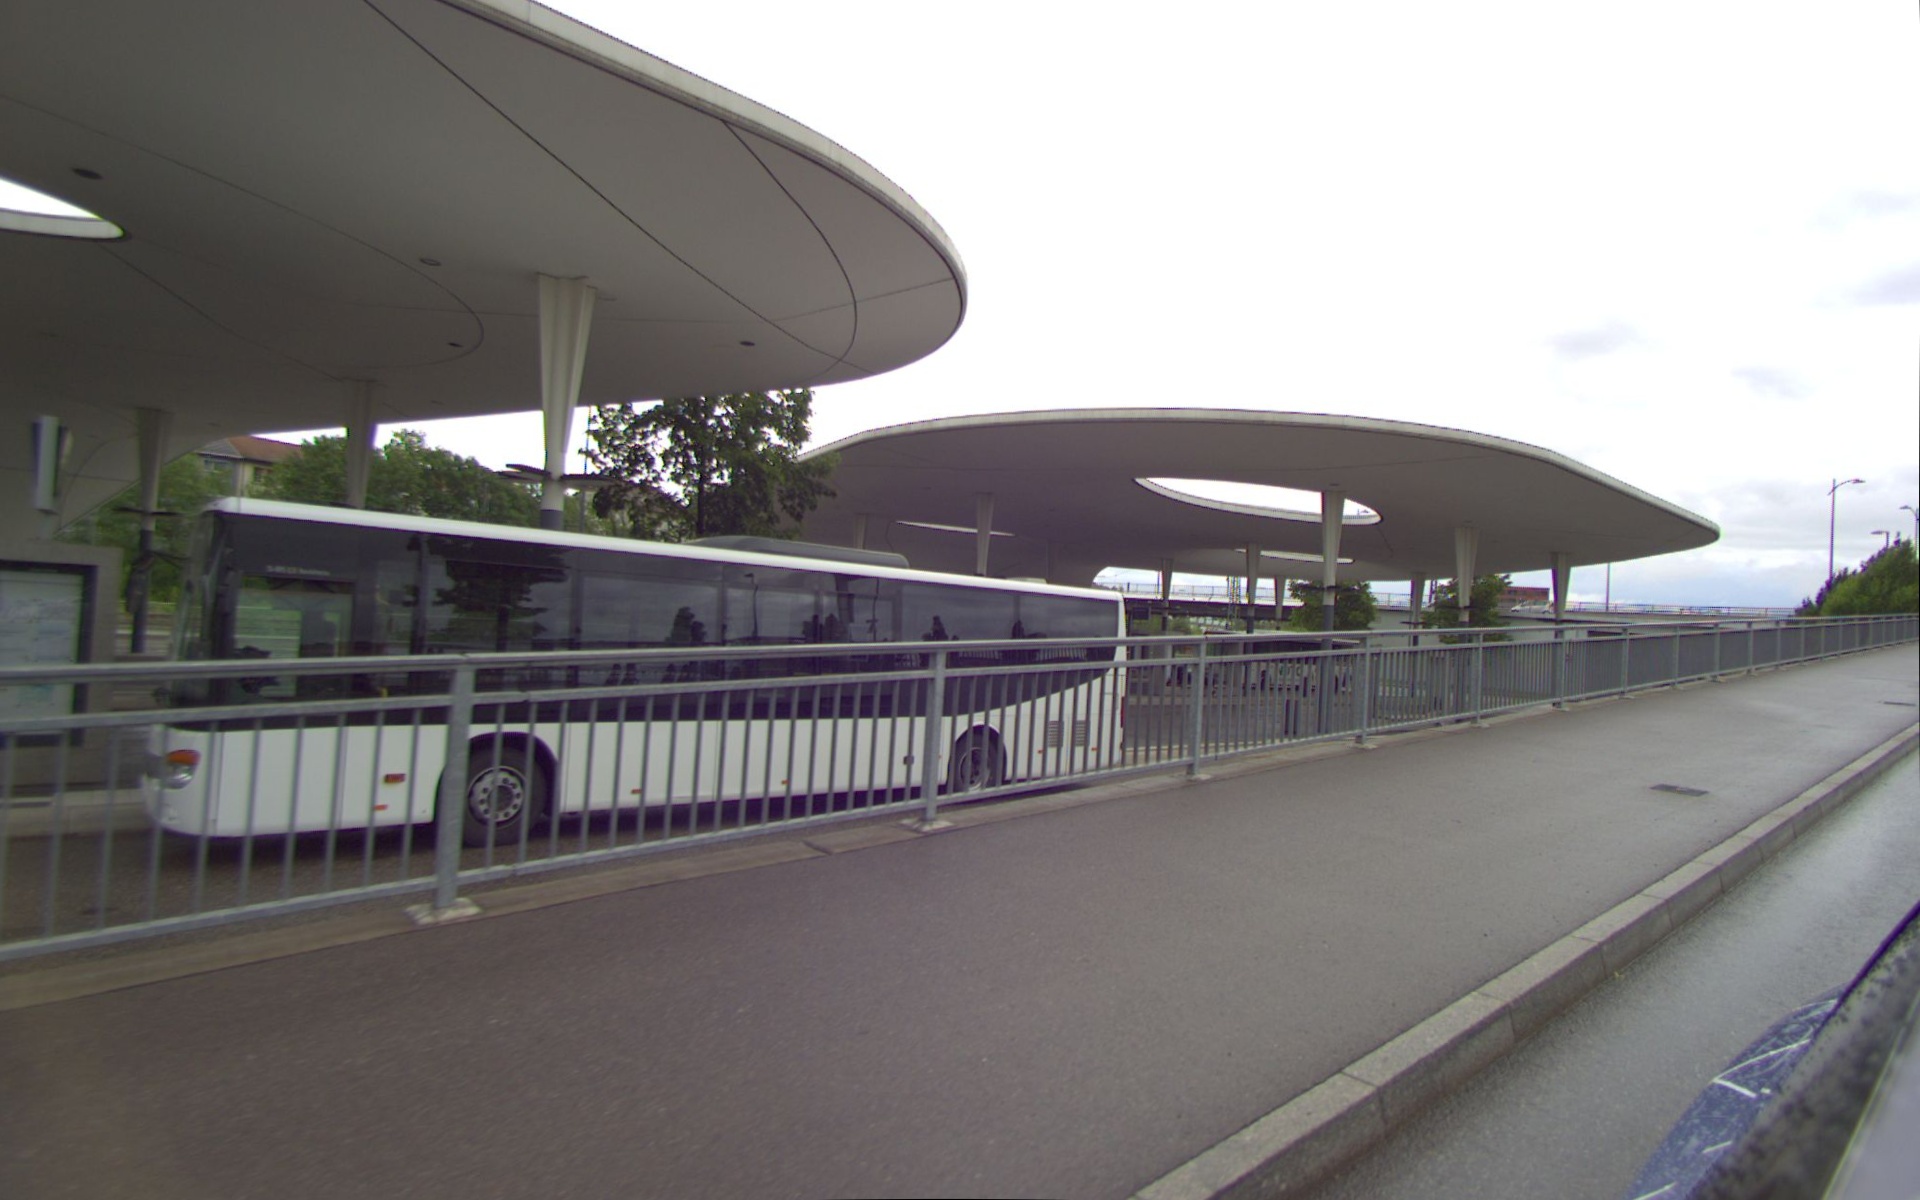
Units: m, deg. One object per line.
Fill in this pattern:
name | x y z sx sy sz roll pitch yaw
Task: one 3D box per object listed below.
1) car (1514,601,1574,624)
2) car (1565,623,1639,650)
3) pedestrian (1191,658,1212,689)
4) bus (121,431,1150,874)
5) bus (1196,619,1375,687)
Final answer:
car | 51.443 1.106 89.185 1.817 1.993 4.207 3 -2 -38
car | 51.744 2.949 81.588 2.079 1.993 4.674 3 -2 -43
pedestrian | 9.816 2.971 41.096 0.658 1.178 0.535 0 -2 -44
bus | -2.581 0.840 12.862 12.204 3.406 2.849 5 -5 -41
bus | 18.617 2.849 57.305 11.907 3.299 2.797 -1 -1 -34
